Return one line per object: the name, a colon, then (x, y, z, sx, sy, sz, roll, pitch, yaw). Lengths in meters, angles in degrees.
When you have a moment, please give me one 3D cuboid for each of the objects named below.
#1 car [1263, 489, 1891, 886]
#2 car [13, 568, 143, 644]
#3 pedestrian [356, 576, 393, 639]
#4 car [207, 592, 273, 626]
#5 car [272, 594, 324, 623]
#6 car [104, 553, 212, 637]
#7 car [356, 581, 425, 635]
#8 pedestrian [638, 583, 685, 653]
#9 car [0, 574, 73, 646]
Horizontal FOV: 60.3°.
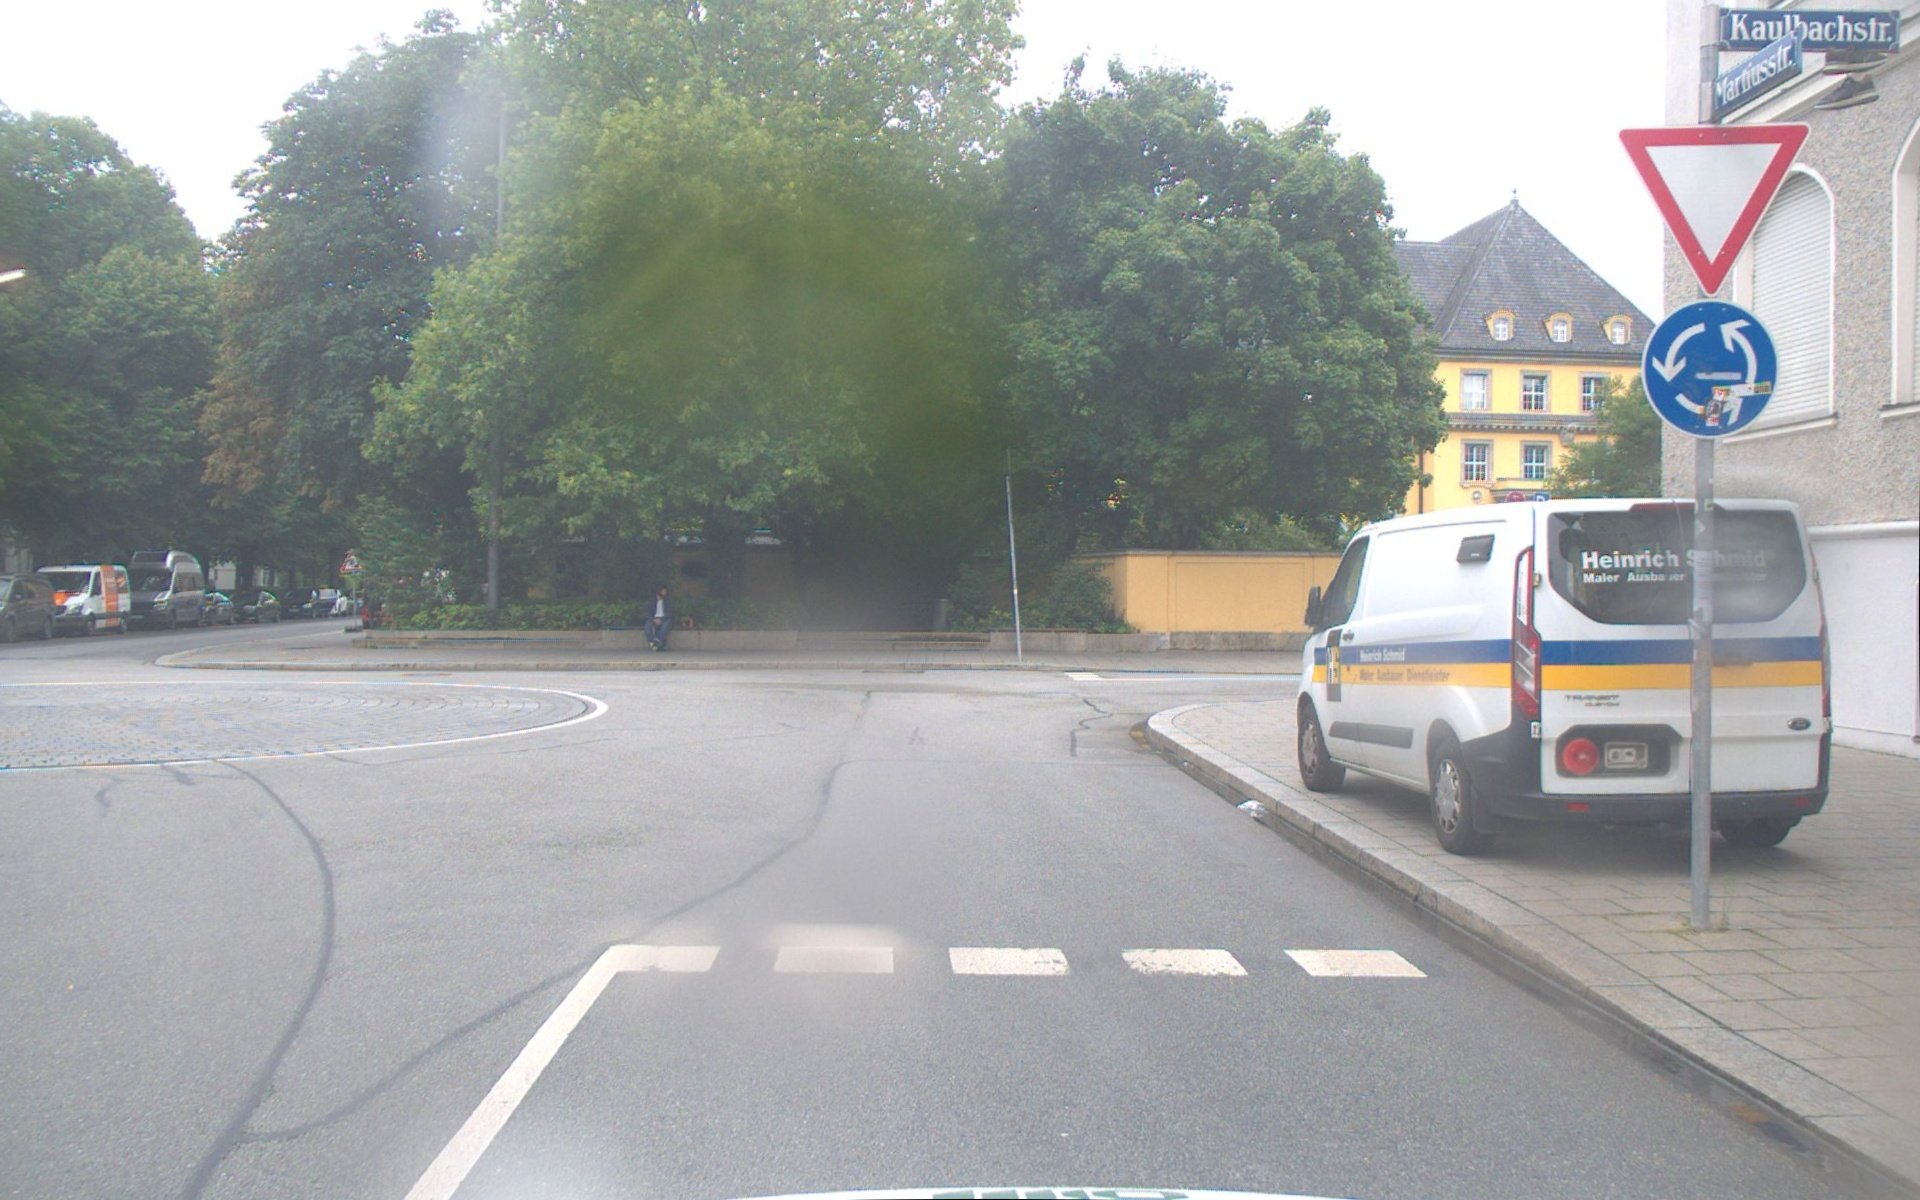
car: (3.603, 0.408, 10.992, 1.900, 1.955, 5.371, -1, 0, -3)
car: (-28.885, 0.163, 54.400, 2.046, 2.304, 5.589, -2, 0, -10)
pedestrian: (-17.693, 0.220, 49.967, 0.814, 1.868, 0.939, 0, 0, -38)
car: (-31.987, 0.381, 73.616, 1.959, 1.445, 4.115, 0, 0, -13)
car: (-34.933, 0.444, 87.384, 1.959, 1.513, 4.115, 0, 0, -13)
car: (-30.443, -0.187, 62.996, 2.134, 3.055, 6.216, 0, 0, -11)
car: (-21.310, 0.284, 62.053, 1.878, 1.971, 4.954, 0, 0, -12)
pedestrian: (-5.983, 0.359, 33.230, 0.753, 1.380, 1.131, 0, 0, -1)
car: (-27.448, 0.286, 47.404, 1.990, 1.941, 5.650, -1, 0, -12)
